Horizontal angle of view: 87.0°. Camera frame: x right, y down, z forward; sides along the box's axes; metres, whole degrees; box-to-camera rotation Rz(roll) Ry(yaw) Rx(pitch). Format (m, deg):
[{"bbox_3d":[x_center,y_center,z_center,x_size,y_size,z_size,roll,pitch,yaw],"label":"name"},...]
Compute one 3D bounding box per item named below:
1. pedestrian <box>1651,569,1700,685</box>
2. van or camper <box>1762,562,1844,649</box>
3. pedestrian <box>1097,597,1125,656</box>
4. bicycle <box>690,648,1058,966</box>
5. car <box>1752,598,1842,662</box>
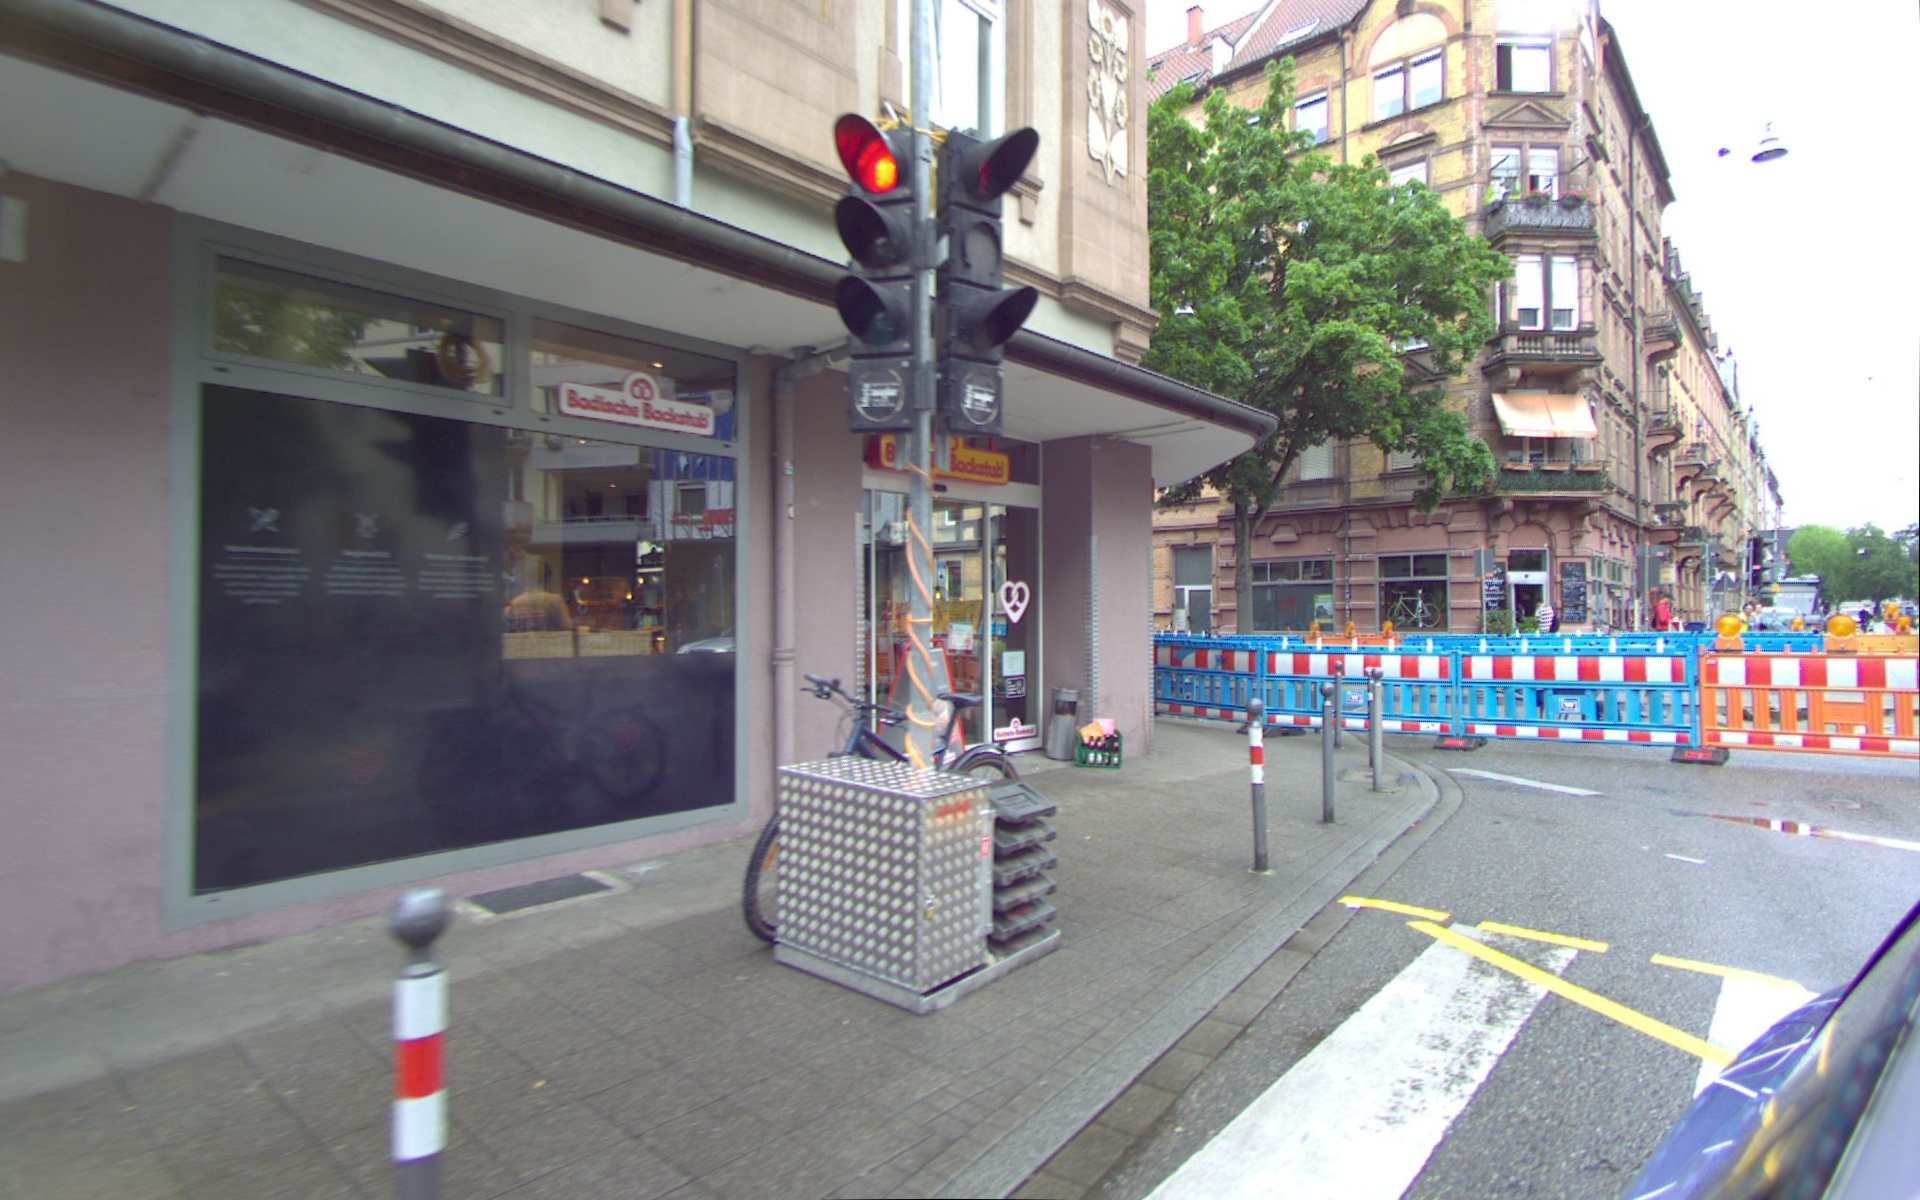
[{"bbox_3d":[16.622,0.623,23.532,0.684,2.642,0.539,-1,-1,10],"label":"pedestrian"},{"bbox_3d":[35.376,0.267,42.525,2.401,3.370,6.970,-2,-2,40],"label":"van or camper"},{"bbox_3d":[5.087,0.881,34.090,0.637,1.943,0.663,-2,-2,43],"label":"pedestrian"},{"bbox_3d":[-0.308,0.833,4.816,0.622,1.142,1.911,-1,-1,38],"label":"bicycle"},{"bbox_3d":[25.452,0.896,30.894,1.892,1.813,3.945,-2,-2,37],"label":"car"}]
